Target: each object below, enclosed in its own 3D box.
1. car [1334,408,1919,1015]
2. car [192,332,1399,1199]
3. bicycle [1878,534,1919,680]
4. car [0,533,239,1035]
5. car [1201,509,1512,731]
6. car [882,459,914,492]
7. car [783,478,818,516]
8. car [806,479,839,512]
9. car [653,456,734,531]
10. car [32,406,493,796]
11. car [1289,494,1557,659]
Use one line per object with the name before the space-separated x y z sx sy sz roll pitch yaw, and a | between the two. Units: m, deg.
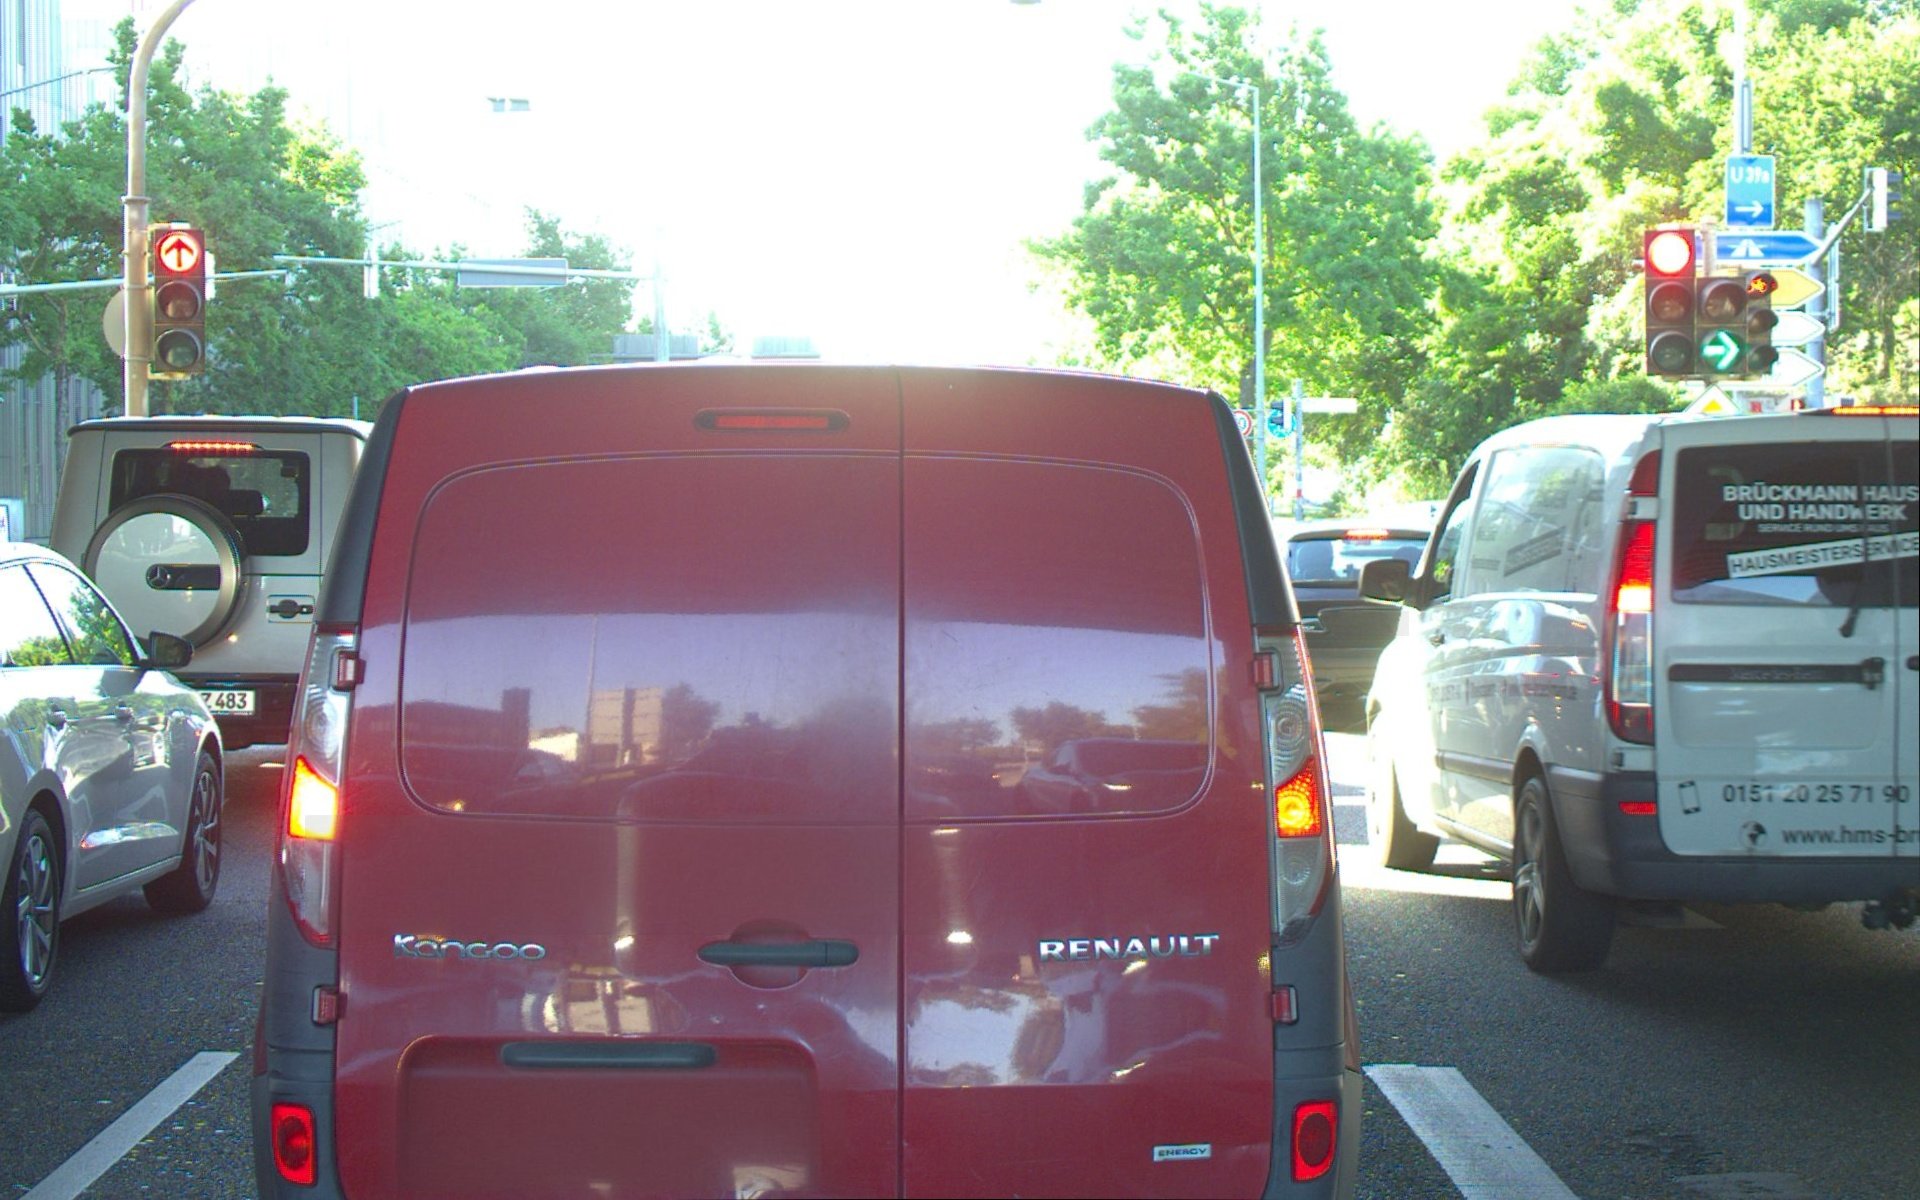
car | 2.743 0.295 12.835 1.897 1.830 4.836 1 1 -3
car | -0.263 0.465 6.943 1.719 1.758 4.000 1 1 -1
bicycle | 8.604 0.049 27.352 2.460 1.142 0.768 0 1 -16
car | -3.610 0.484 11.480 1.692 1.405 3.814 1 1 -2
car | 2.768 0.097 24.726 1.745 1.451 3.717 1 1 -1
car | -3.954 -7.989 220.635 1.993 2.007 4.000 1 1 -1
car | -8.835 -5.710 190.618 1.748 2.007 3.845 1 1 -1
car | -8.917 -6.798 223.922 1.993 2.007 4.000 1 1 -1
car | -7.544 -3.008 97.512 1.993 2.007 4.000 1 1 -1
car | -3.688 -0.033 18.802 1.813 1.897 3.814 1 1 -1
car | 4.353 -0.260 32.967 1.745 1.451 4.665 1 1 -2
